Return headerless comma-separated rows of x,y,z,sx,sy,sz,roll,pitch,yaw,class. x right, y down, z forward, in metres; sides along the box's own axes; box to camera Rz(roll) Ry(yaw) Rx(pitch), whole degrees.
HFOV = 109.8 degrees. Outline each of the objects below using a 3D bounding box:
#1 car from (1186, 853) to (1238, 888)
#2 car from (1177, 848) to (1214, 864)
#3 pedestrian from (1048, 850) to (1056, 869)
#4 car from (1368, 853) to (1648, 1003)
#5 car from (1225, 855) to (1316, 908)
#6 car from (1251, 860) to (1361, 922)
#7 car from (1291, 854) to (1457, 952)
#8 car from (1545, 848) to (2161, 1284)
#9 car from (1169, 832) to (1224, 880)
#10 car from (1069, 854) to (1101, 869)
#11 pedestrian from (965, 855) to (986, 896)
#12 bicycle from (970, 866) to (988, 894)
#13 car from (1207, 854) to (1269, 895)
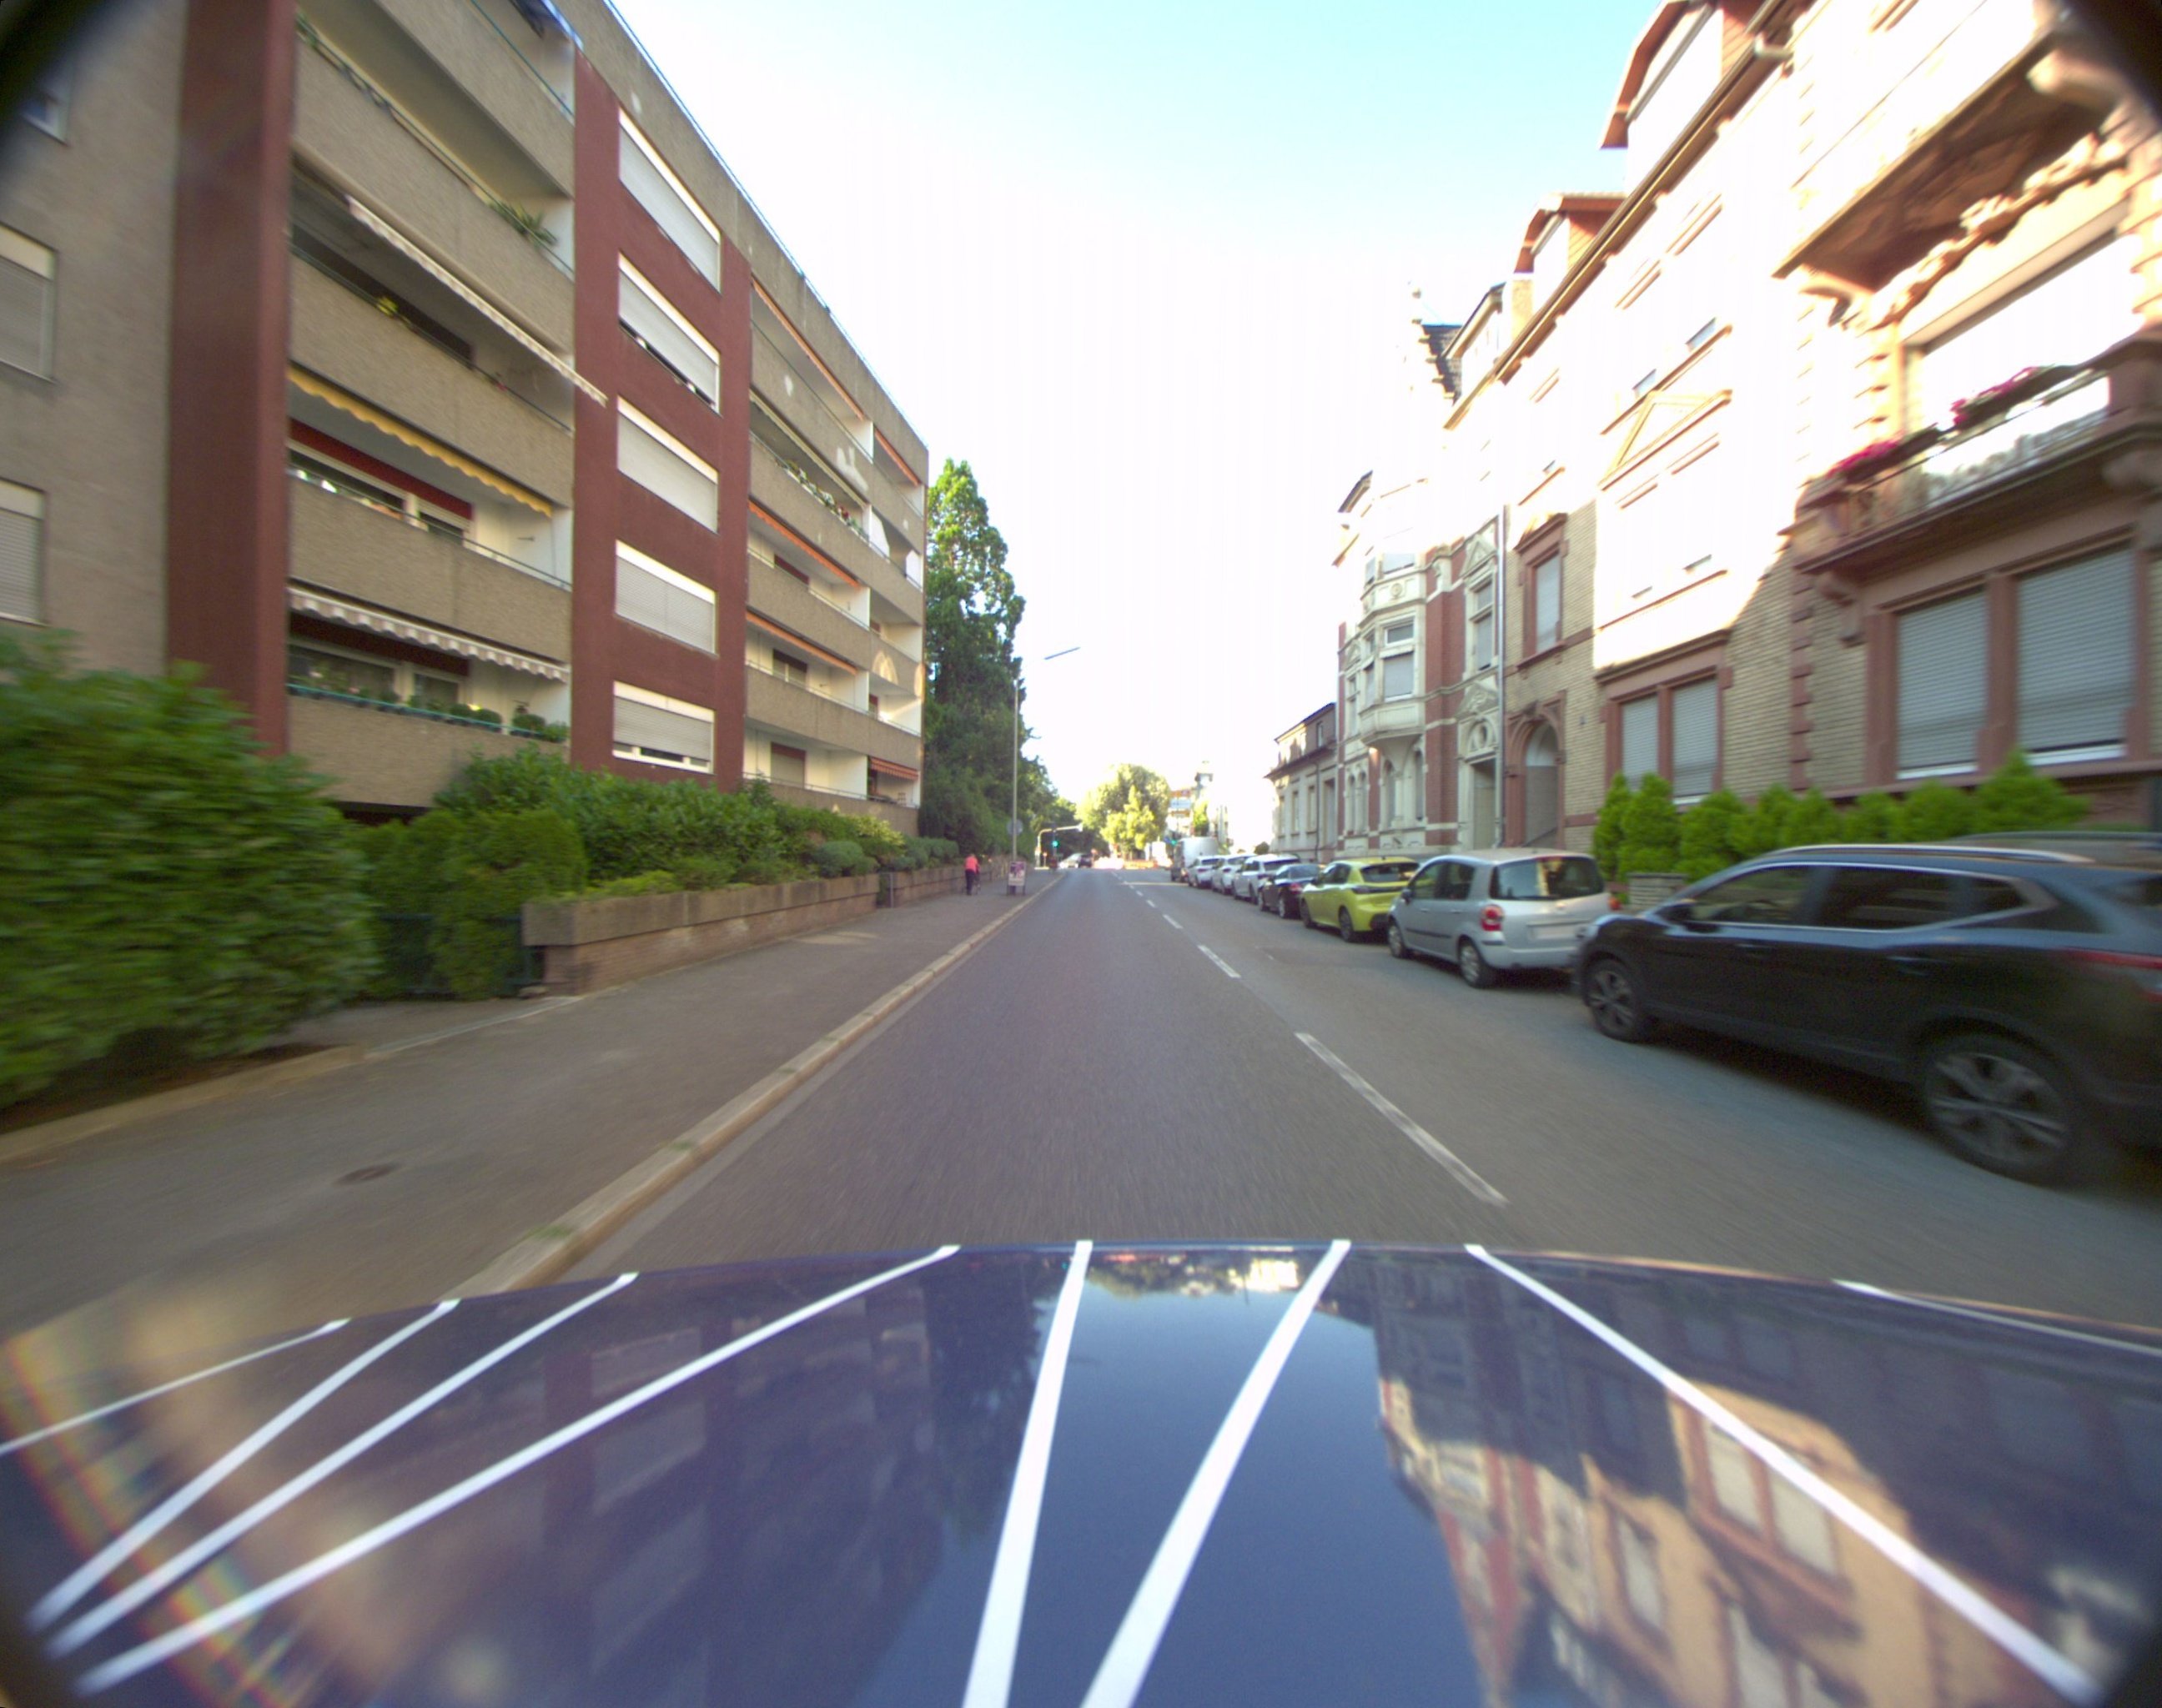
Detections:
5.959,0.733,34.987,1.707,1.494,3.823,-1,0,0,car
14.237,0.285,94.922,4.324,1.841,2.000,-1,0,0,car
-2.550,0.495,66.384,0.604,1.683,0.612,1,0,0,pedestrian
5.212,0.785,9.877,1.706,1.574,3.635,-1,0,3,car
6.054,0.821,24.814,1.707,1.527,4.548,-1,0,-1,car
5.596,0.863,19.366,1.707,1.358,3.860,-1,0,1,car
5.413,0.816,14.608,1.706,1.494,4.072,-1,1,2,car
5.166,0.830,4.921,1.706,1.698,4.441,-1,0,2,car
6.271,0.110,41.924,2.073,2.446,6.013,-1,0,0,car
0.417,0.877,89.514,1.963,1.639,4.274,-1,-1,-28,car
-3.669,0.730,26.471,0.599,1.394,0.668,-1,0,-1,pedestrian
-3.641,0.923,27.144,0.568,0.964,0.492,-1,0,-1,bicycle
6.150,0.750,30.220,1.706,1.494,4.021,-1,0,2,car
